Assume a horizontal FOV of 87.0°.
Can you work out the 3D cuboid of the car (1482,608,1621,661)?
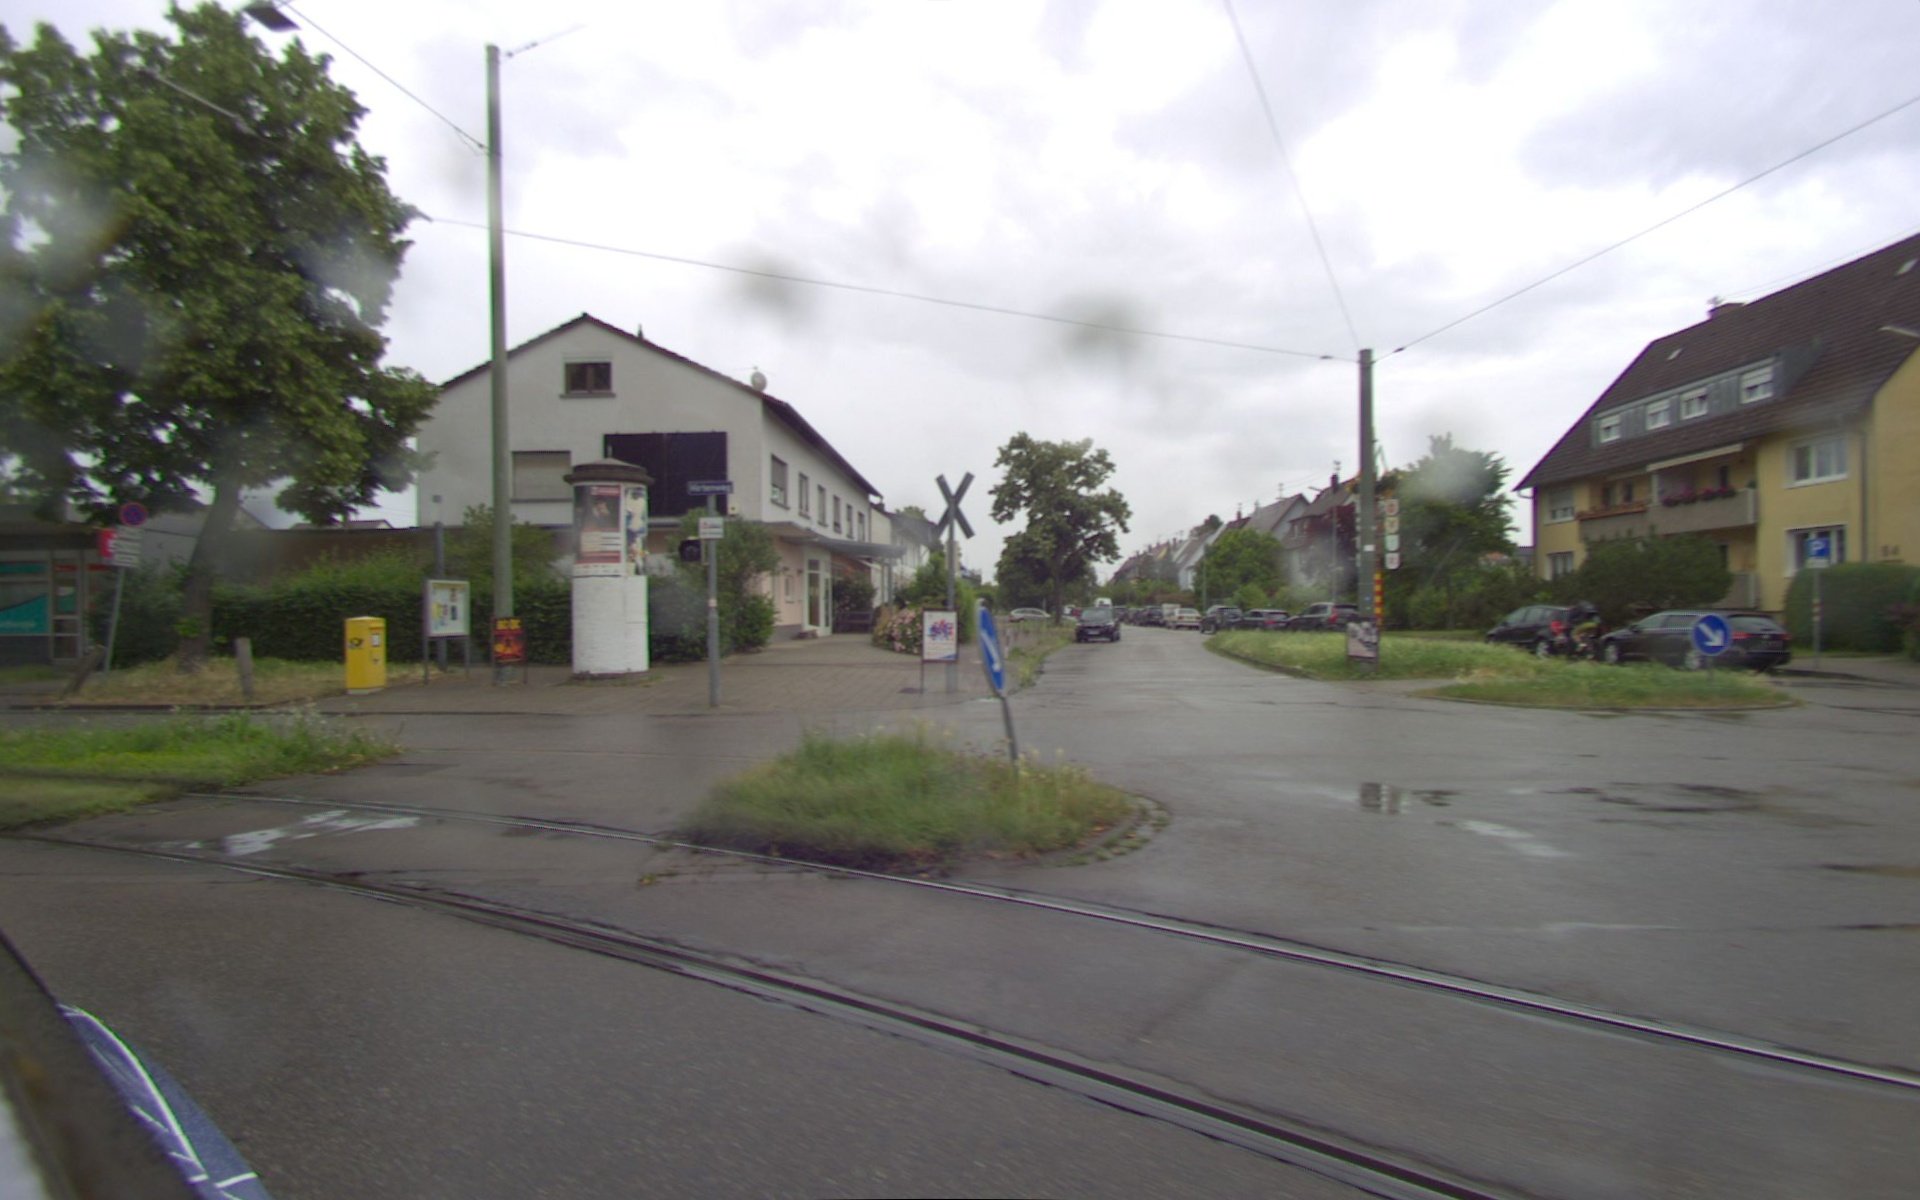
[{"bbox_3d":[17.670,0.979,30.471,1.734,1.342,4.001,-1,1,-1],"label":"car"}]

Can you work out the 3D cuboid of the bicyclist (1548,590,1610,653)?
[{"bbox_3d":[16.040,0.559,26.250,0.936,1.610,1.042,-1,-1,0],"label":"bicyclist"}]

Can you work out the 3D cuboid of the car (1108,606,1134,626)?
[{"bbox_3d":[16.387,1.638,103.264,1.972,1.807,4.000,-1,1,0],"label":"car"}]

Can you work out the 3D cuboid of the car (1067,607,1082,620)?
[{"bbox_3d":[18.442,2.184,162.908,1.972,1.807,4.000,-1,1,0],"label":"car"}]

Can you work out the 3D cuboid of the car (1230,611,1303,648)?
[{"bbox_3d":[15.168,1.422,50.256,1.969,1.585,4.133,-1,1,-6],"label":"car"}]

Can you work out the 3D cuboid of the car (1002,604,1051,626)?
[{"bbox_3d":[5.477,1.250,84.188,3.944,1.695,2.000,-1,1,1],"label":"car"}]

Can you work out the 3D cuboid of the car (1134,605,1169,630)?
[{"bbox_3d":[15.160,1.377,80.397,1.972,1.807,4.000,-1,1,0],"label":"car"}]

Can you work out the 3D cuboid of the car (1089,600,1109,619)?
[{"bbox_3d":[16.589,1.092,121.021,1.973,2.049,3.998,-1,1,2],"label":"car"}]

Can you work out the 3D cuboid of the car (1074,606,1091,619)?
[{"bbox_3d":[17.450,1.765,144.094,1.972,1.807,4.000,-1,1,0],"label":"car"}]

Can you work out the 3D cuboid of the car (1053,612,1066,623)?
[{"bbox_3d":[18.817,3.275,191.307,1.972,1.807,4.000,-1,1,0],"label":"car"}]

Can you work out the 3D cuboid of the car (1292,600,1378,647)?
[{"bbox_3d":[16.353,0.982,44.369,1.969,1.807,4.005,-1,1,-5],"label":"car"}]

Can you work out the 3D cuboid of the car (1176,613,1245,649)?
[{"bbox_3d":[10.781,1.310,43.854,1.972,1.487,3.999,-1,-1,0],"label":"car"}]

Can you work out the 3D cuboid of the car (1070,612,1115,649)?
[{"bbox_3d":[6.147,1.357,46.687,1.771,1.473,3.986,0,1,12],"label":"car"}]

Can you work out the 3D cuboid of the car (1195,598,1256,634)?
[{"bbox_3d":[14.741,0.854,56.406,1.969,1.807,4.005,-1,1,-5],"label":"car"}]

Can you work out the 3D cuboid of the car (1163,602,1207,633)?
[{"bbox_3d":[14.932,1.138,67.391,1.972,1.807,4.000,-1,1,0],"label":"car"}]

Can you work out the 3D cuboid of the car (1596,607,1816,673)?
[{"bbox_3d":[17.844,0.901,24.535,1.939,1.406,4.505,-1,0,0],"label":"car"}]

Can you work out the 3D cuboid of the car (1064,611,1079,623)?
[{"bbox_3d":[18.369,2.866,167.083,1.972,1.807,4.000,-1,1,0],"label":"car"}]

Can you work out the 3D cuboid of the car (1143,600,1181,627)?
[{"bbox_3d":[14.933,0.945,74.876,1.972,1.807,4.000,-1,1,0],"label":"car"}]

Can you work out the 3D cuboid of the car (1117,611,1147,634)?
[{"bbox_3d":[15.380,1.973,90.750,1.972,1.807,4.000,-1,1,0],"label":"car"}]

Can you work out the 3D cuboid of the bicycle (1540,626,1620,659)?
[{"bbox_3d":[16.028,1.088,26.210,0.929,0.792,1.819,-1,-1,0],"label":"bicycle"}]
